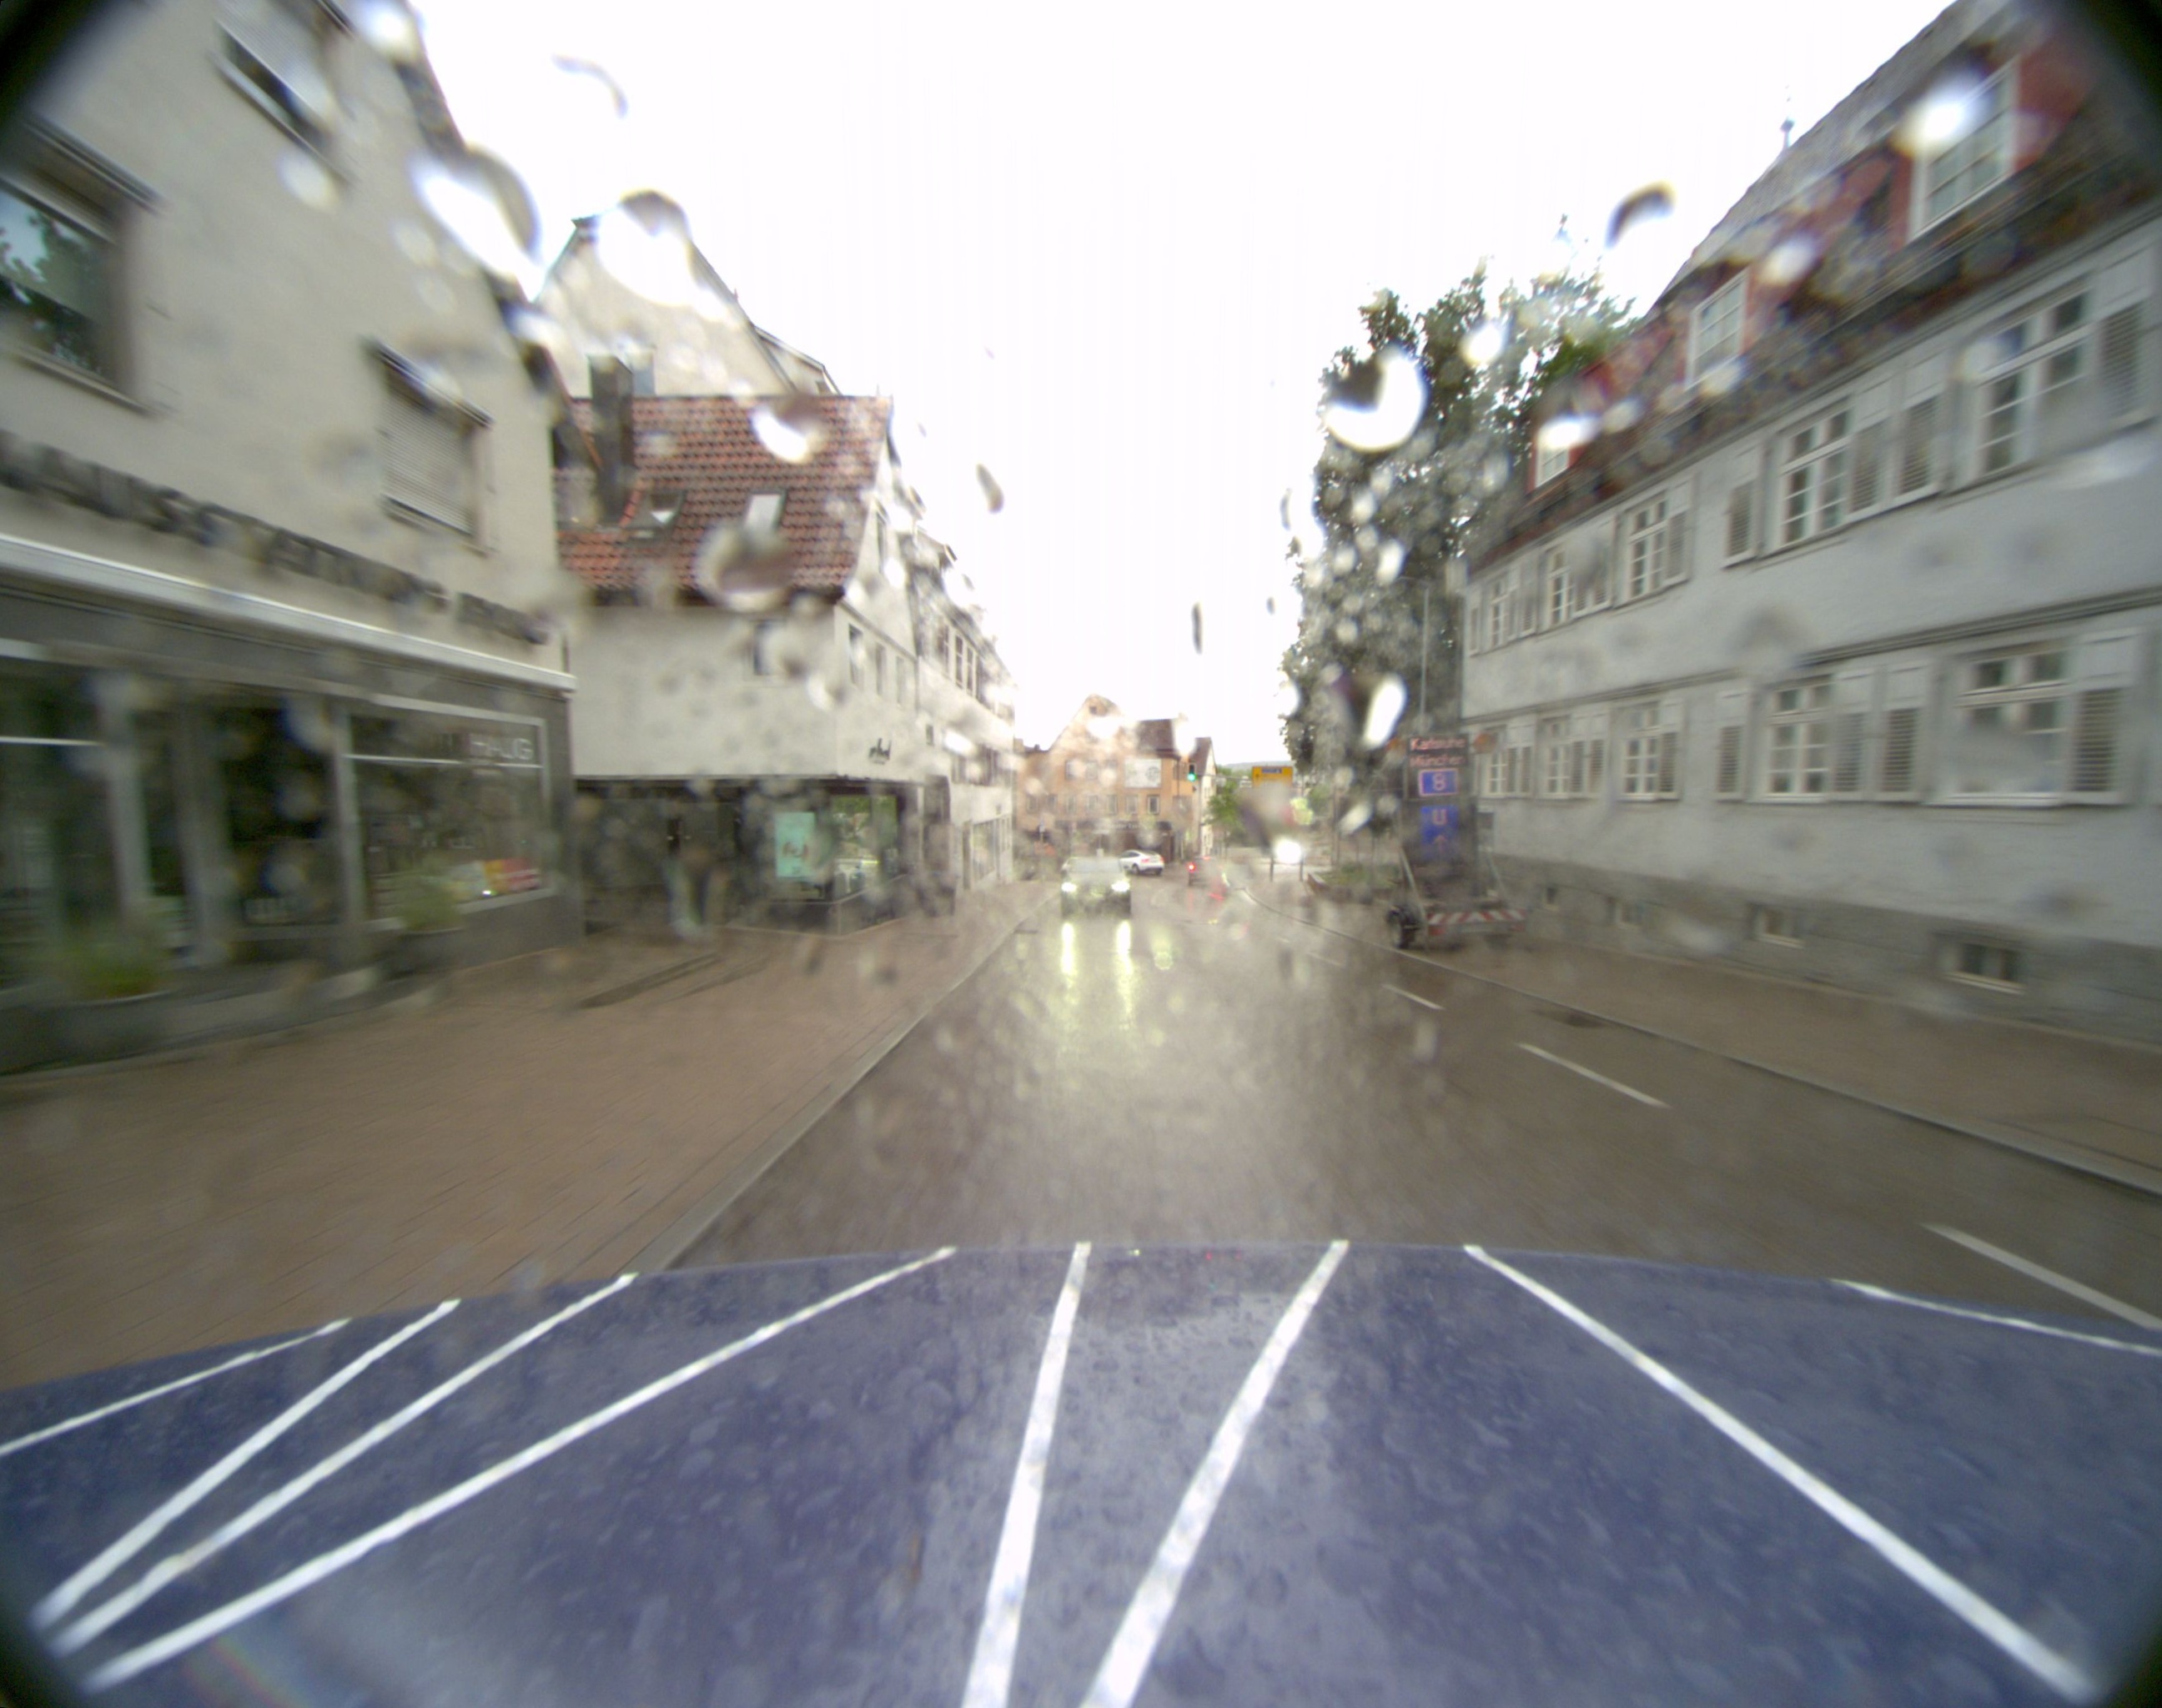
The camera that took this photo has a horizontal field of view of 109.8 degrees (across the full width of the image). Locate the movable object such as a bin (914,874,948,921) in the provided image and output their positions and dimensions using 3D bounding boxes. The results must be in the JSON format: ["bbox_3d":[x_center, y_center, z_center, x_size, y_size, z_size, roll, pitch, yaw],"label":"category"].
[{"bbox_3d":[-3.417,0.979,17.301,0.571,1.022,0.467,1,1,-40],"label":"movable object such as a bin"}]

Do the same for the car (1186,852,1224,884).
[{"bbox_3d":[6.124,0.659,37.956,1.612,1.463,3.587,1,0,6],"label":"car"}]

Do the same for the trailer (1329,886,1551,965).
[{"bbox_3d":[6.077,1.169,13.571,1.998,0.900,4.477,-1,1,2],"label":"trailer"}]

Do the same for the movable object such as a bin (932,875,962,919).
[{"bbox_3d":[-3.232,1.030,18.333,0.596,1.022,0.476,2,1,2],"label":"movable object such as a bin"}]

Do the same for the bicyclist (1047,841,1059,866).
[{"bbox_3d":[-2.202,-0.030,59.700,0.693,1.923,0.568,-2,1,-42],"label":"bicyclist"}]

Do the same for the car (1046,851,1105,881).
[{"bbox_3d":[-0.365,0.649,43.758,1.971,1.598,4.375,0,0,-21],"label":"car"}]

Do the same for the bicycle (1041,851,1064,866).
[{"bbox_3d":[-2.259,0.362,59.833,0.667,1.174,2.130,-2,1,-40],"label":"bicycle"}]

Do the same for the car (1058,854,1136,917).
[{"bbox_3d":[0.437,0.791,21.362,1.967,1.549,4.622,0,1,1],"label":"car"}]

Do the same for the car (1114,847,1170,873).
[{"bbox_3d":[4.090,0.394,51.594,1.971,1.598,4.373,1,1,-24],"label":"car"}]
